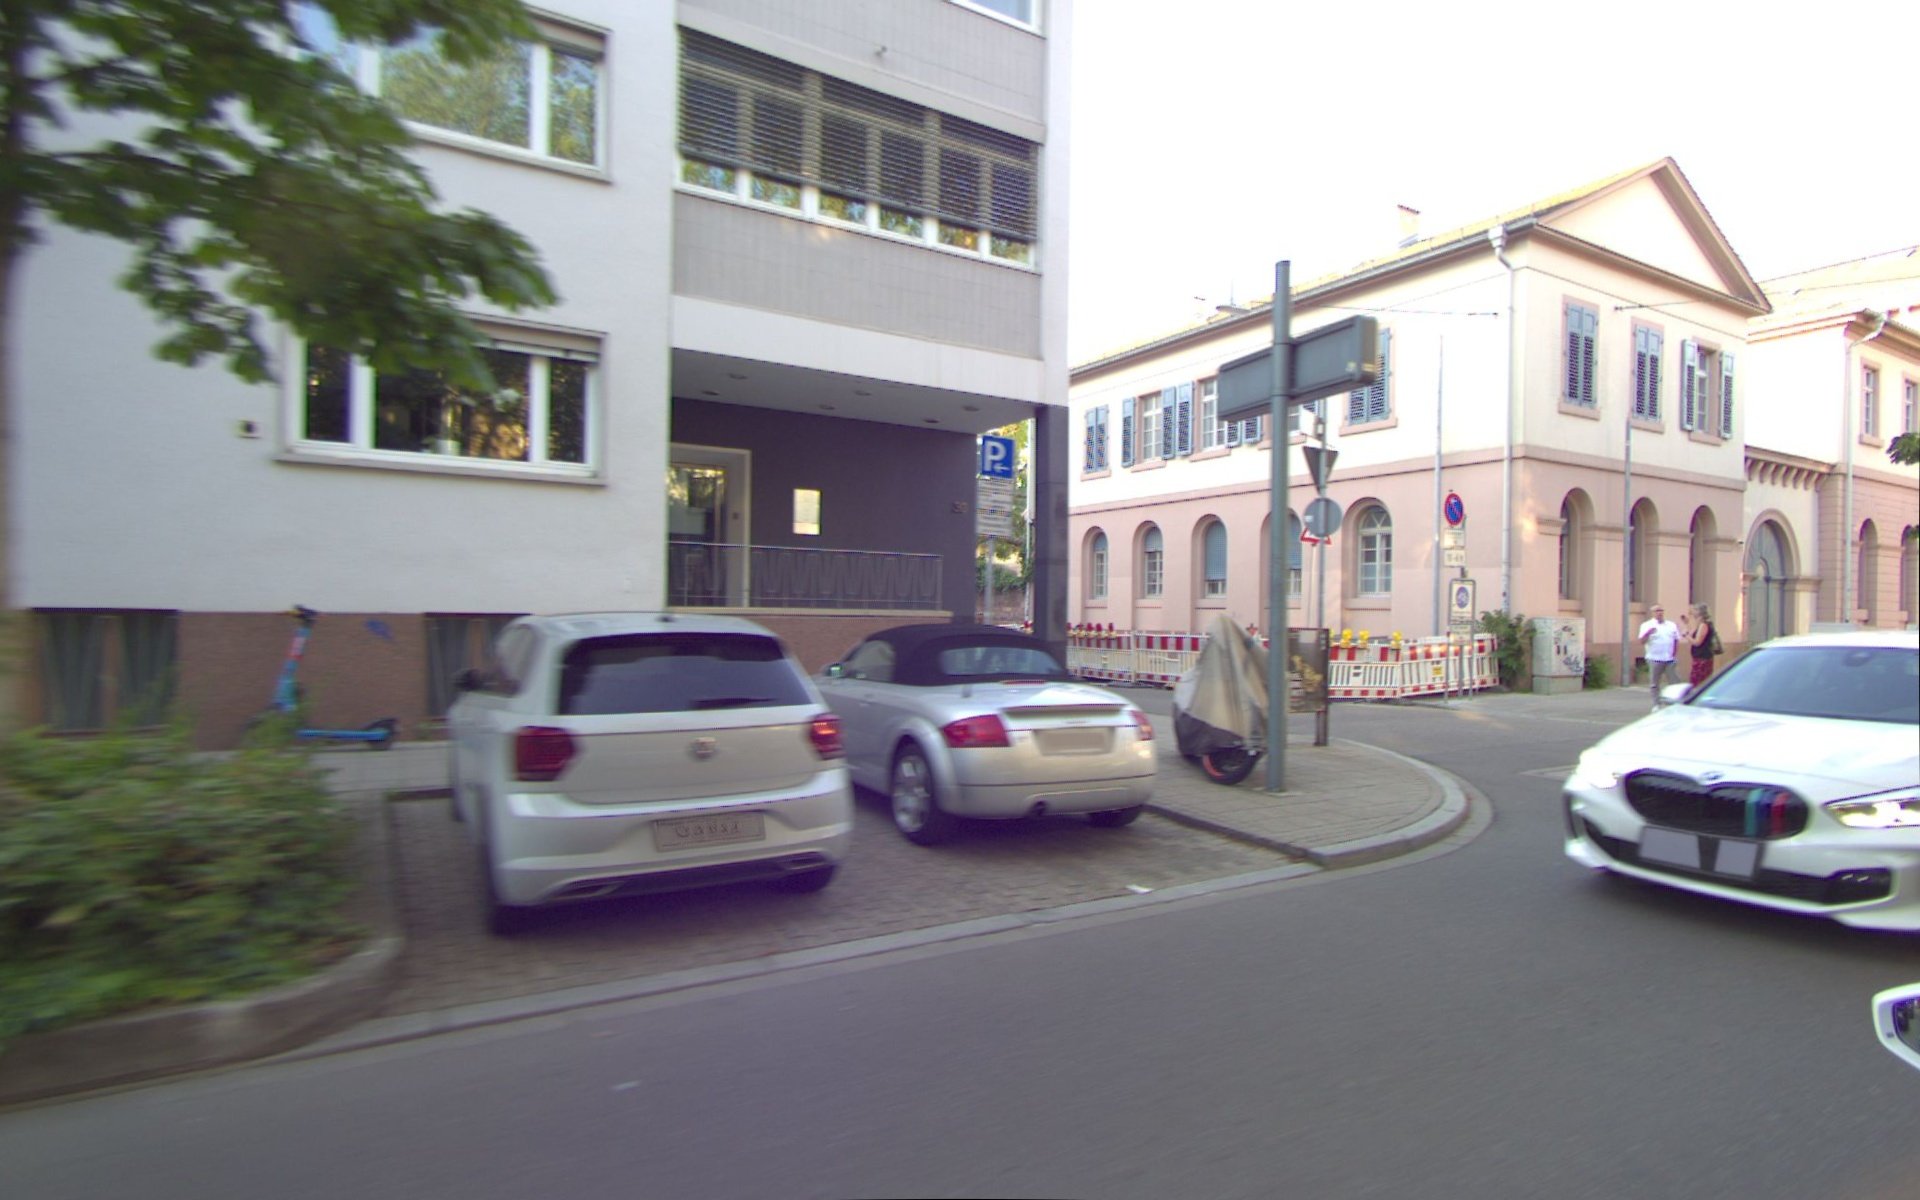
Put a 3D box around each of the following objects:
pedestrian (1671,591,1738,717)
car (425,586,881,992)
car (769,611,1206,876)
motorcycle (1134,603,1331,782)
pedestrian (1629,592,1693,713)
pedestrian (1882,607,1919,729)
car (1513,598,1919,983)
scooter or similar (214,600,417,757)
[{"bbox_3d":[11.340,0.809,15.309,0.601,1.875,0.554,-1,0,-16],"label":"pedestrian"},{"bbox_3d":[-2.069,0.717,5.891,1.715,1.478,3.722,1,1,-31],"label":"car"},{"bbox_3d":[-0.068,0.838,7.695,1.820,1.329,3.727,1,1,-26],"label":"car"},{"bbox_3d":[2.409,0.774,9.233,0.950,1.438,2.152,1,-1,-9],"label":"motorcycle"},{"bbox_3d":[11.136,0.817,15.959,0.602,1.875,0.554,1,0,-16],"label":"pedestrian"},{"bbox_3d":[14.772,1.033,15.233,0.758,1.815,0.790,1,2,-14],"label":"pedestrian"},{"bbox_3d":[5.384,0.824,5.830,4.222,1.569,1.869,1,-1,-29],"label":"car"},{"bbox_3d":[-5.552,0.663,8.739,1.402,1.278,0.513,2,0,-27],"label":"scooter or similar"}]
